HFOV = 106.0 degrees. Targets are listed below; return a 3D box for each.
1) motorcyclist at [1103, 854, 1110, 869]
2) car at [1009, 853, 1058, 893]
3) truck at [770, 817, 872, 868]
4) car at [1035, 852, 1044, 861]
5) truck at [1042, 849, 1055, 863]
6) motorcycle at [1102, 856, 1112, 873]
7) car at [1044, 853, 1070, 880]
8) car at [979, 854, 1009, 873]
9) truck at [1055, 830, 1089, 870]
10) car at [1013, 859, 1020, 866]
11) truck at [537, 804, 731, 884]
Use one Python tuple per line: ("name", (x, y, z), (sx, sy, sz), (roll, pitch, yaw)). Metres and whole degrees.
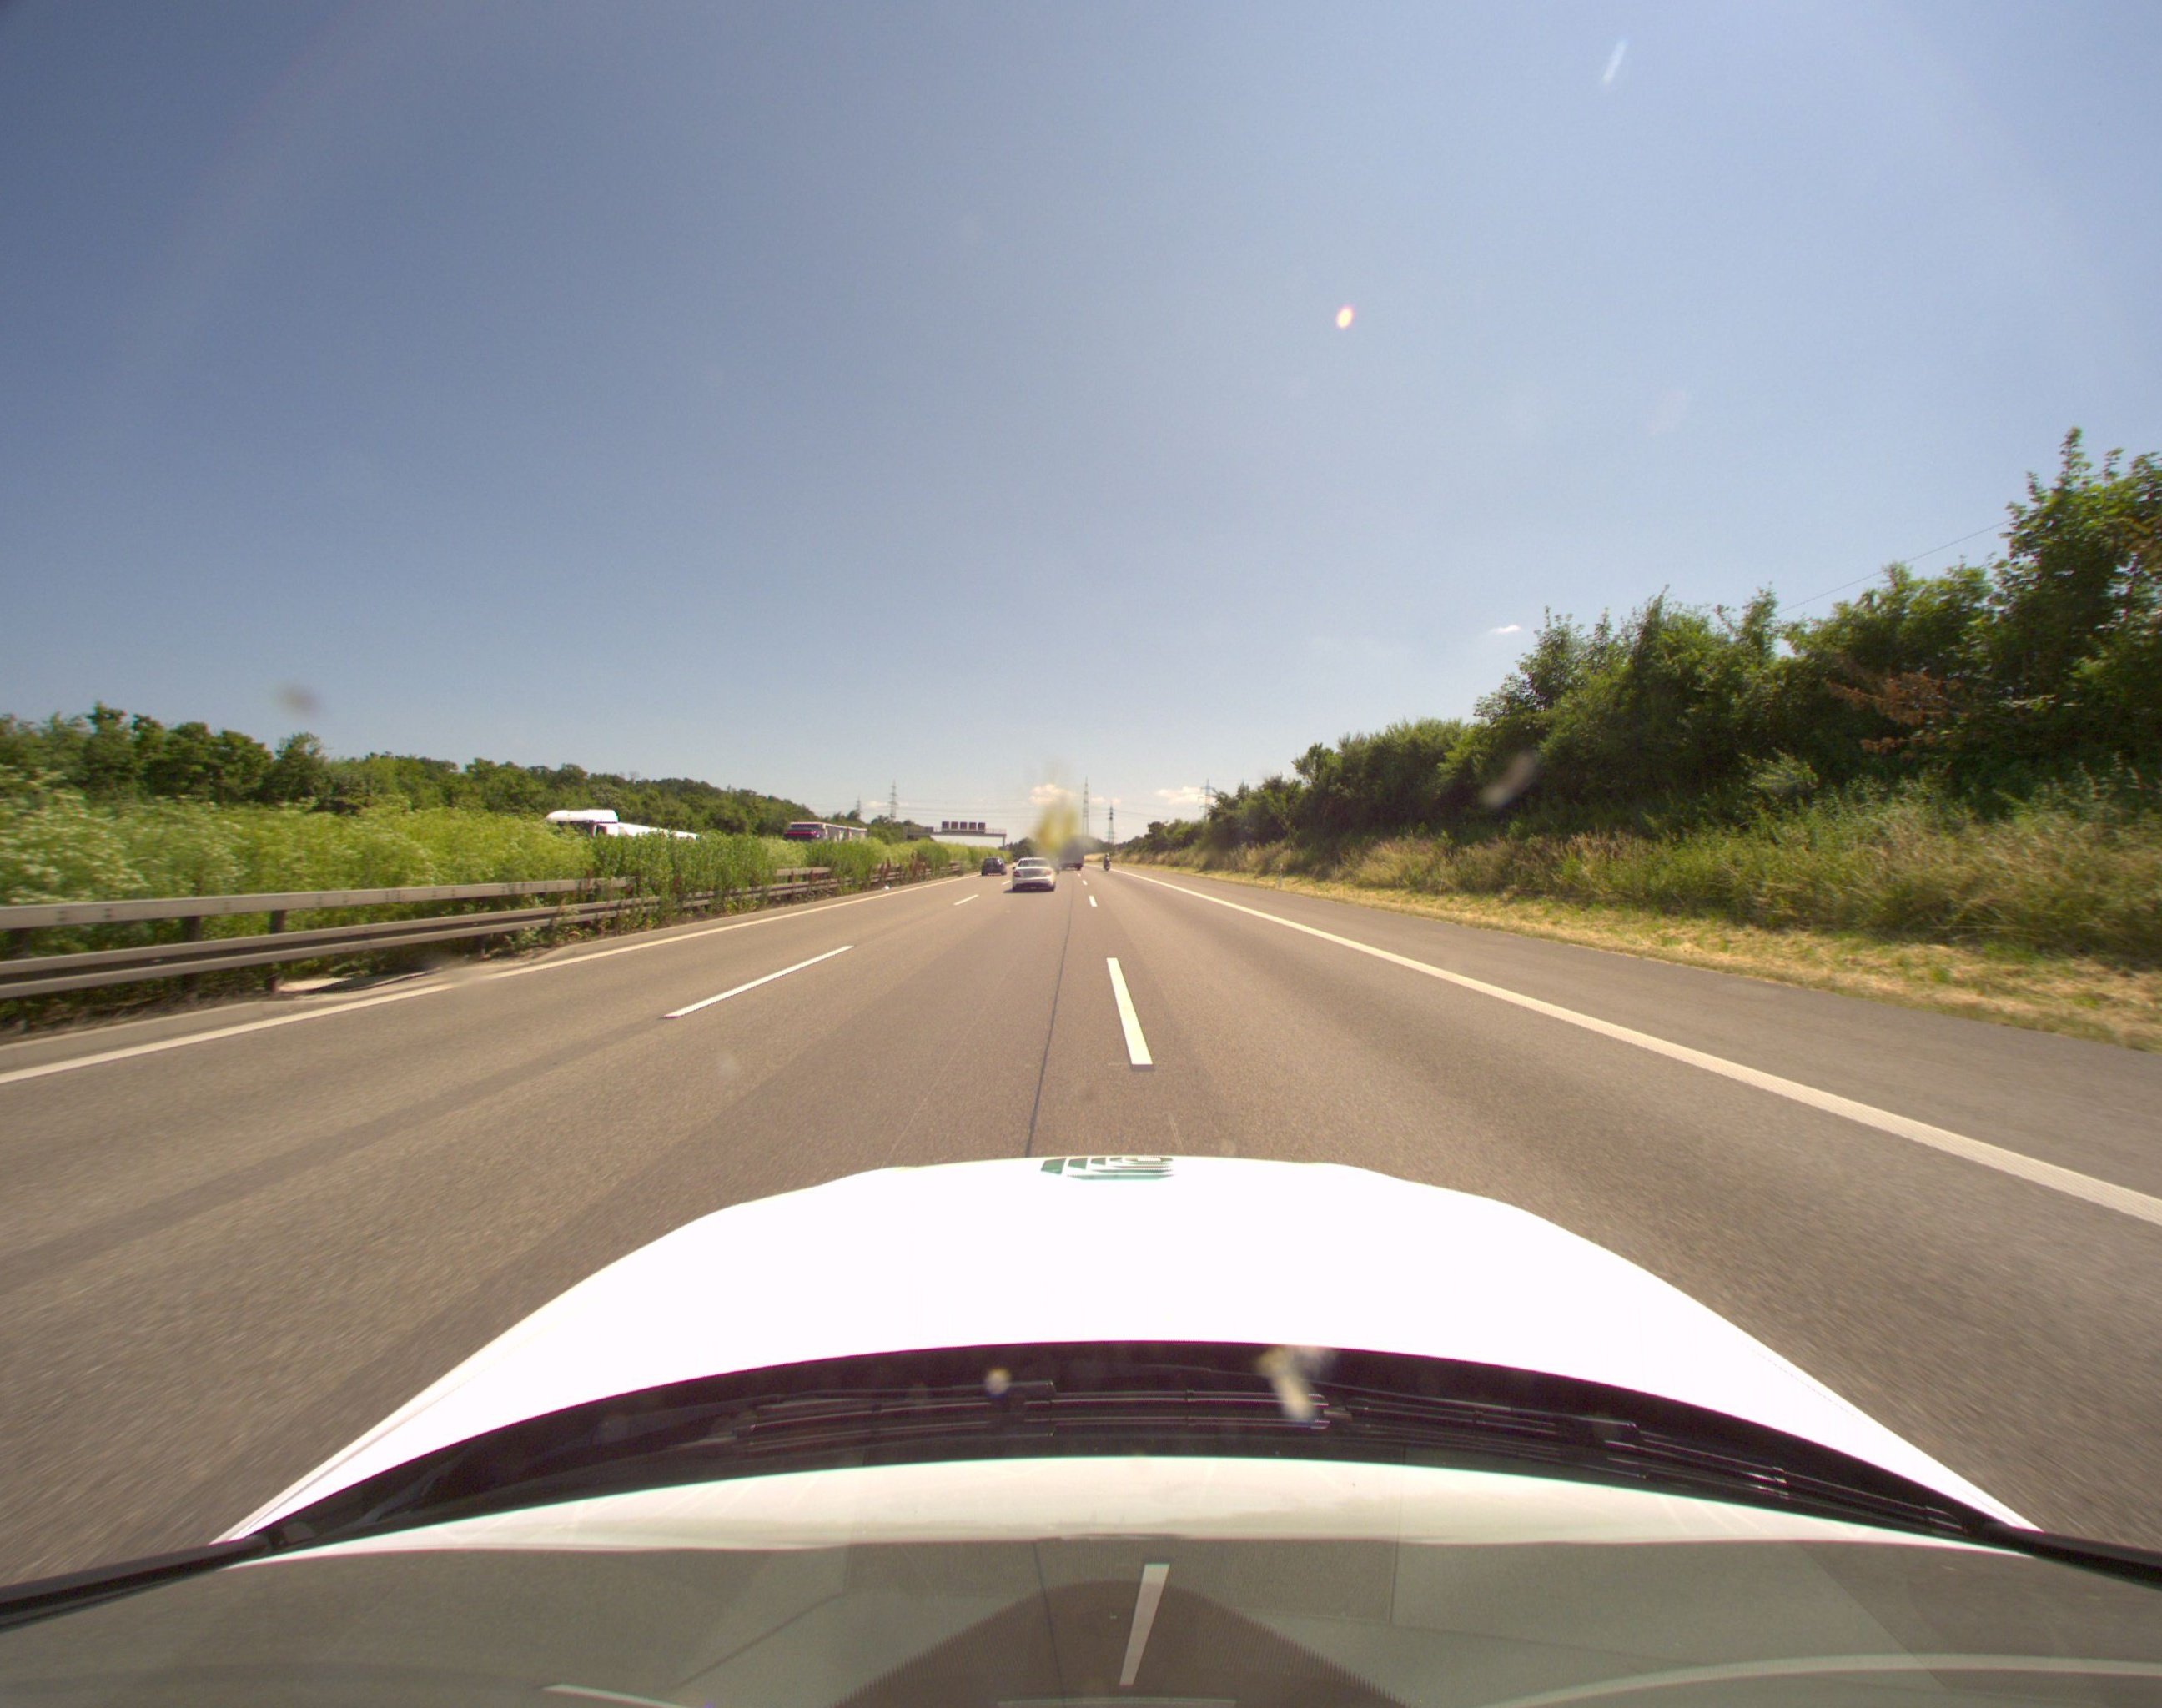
("motorcyclist", (2.431, 0.719, 77.545), (0.571, 1.479, 0.699), (-1, 0, -4))
("car", (-1.982, 0.767, 34.976), (1.813, 1.540, 3.914), (-1, 0, 0))
("truck", (-21.260, -0.861, 68.426), (3.222, 3.611, 18.513), (2, 0, -3))
("car", (-9.408, 0.541, 186.348), (1.896, 1.925, 3.998), (-1, 0, -1))
("truck", (-9.707, 0.675, 242.362), (3.477, 3.912, 7.280), (-1, 0, -3))
("motorcycle", (2.464, 0.963, 77.526), (0.808, 1.607, 1.780), (-1, -1, -4))
("car", (-2.003, 0.981, 65.874), (1.989, 2.013, 3.996), (-1, 0, -3))
("car", (-6.863, 0.742, 64.602), (1.750, 1.429, 4.002), (-1, 0, 2))
("truck", (-0.936, -0.335, 84.473), (3.211, 3.924, 9.057), (-1, 0, -1))
("car", (-20.047, 2.665, 251.982), (1.989, 1.860, 3.995), (-1, 0, -3))
("truck", (-22.756, -0.488, 43.040), (2.452, 3.456, 14.678), (-1, 0, -1))
